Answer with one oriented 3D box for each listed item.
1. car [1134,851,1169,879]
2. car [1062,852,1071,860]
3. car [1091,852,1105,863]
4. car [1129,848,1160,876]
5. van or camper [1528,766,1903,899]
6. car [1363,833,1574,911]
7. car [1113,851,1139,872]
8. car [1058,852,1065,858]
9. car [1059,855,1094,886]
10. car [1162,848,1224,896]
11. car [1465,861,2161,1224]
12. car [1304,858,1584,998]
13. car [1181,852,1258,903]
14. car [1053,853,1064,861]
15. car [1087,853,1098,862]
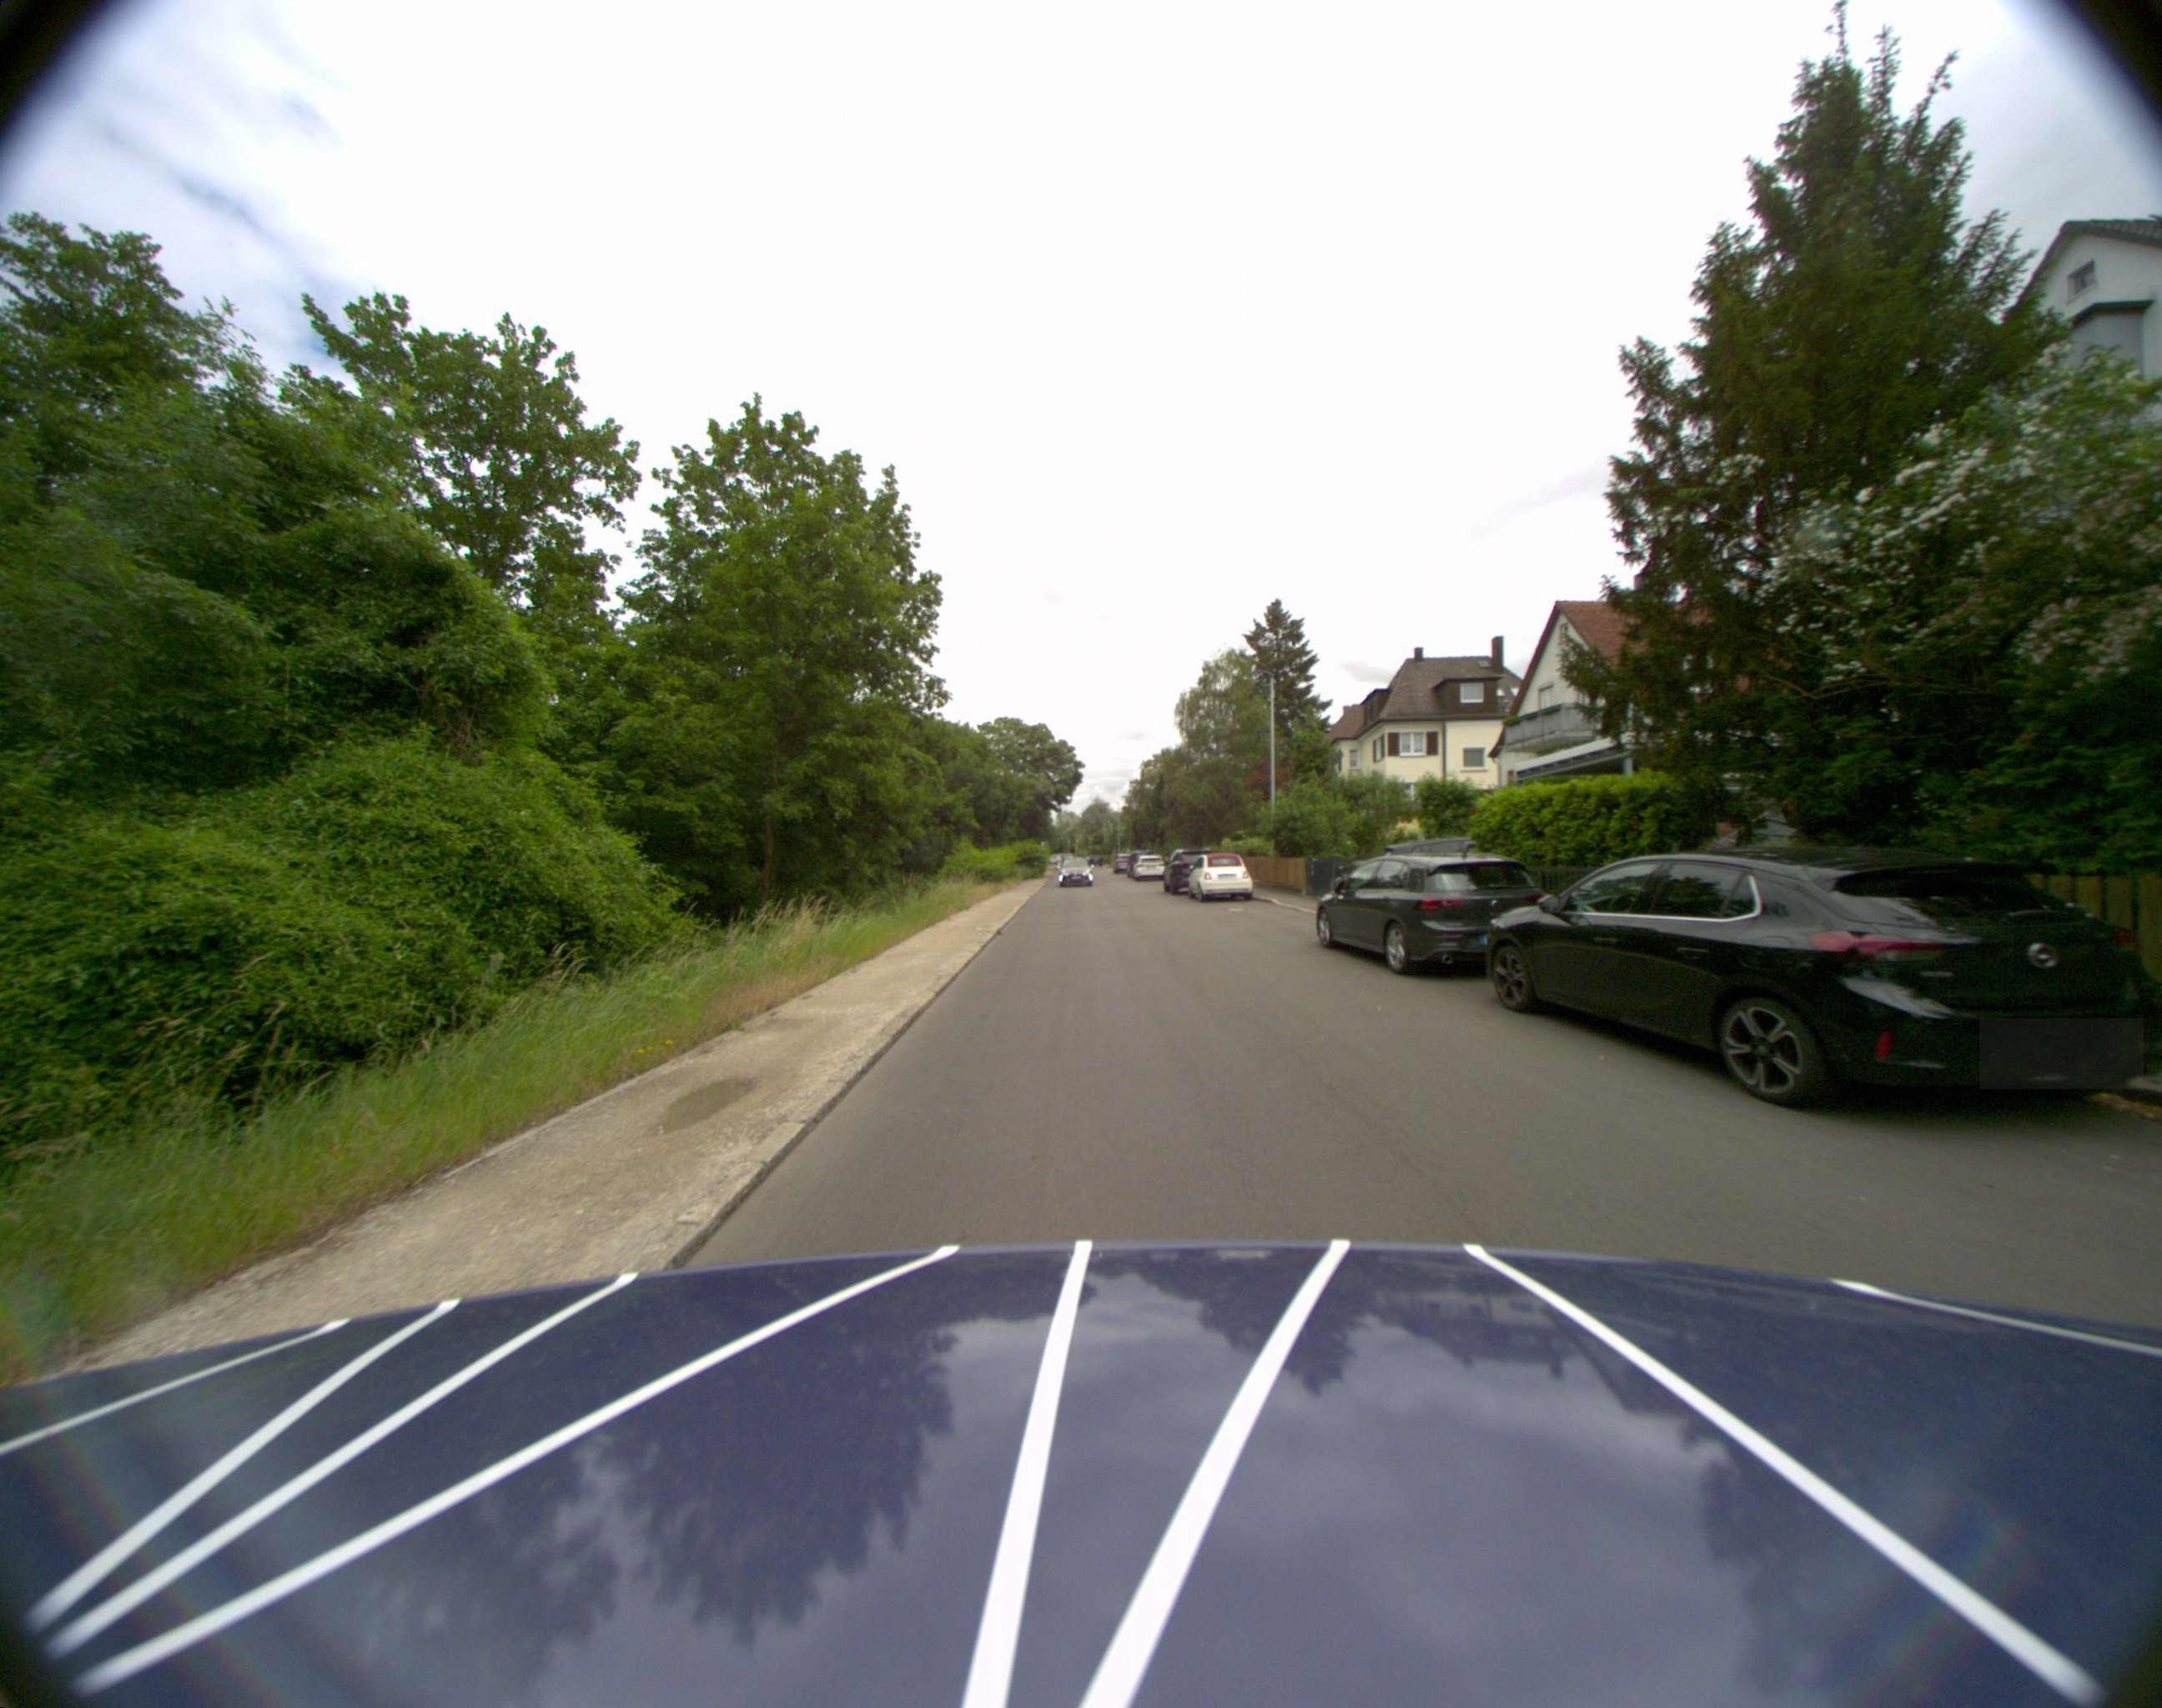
[{"bbox_3d":[4.117,0.633,45.002,1.711,1.502,4.554,-2,0,1],"label":"car"},{"bbox_3d":[-3.388,0.479,177.023,1.923,1.670,4.194,-2,0,-3],"label":"car"},{"bbox_3d":[2.536,0.511,113.943,1.922,1.670,4.195,-2,0,0],"label":"car"},{"bbox_3d":[4.213,0.502,50.999,1.711,1.789,4.297,-2,0,0],"label":"car"},{"bbox_3d":[15.081,-0.449,18.545,6.692,2.635,2.325,-3,0,9],"label":"van or camper"},{"bbox_3d":[8.813,0.415,17.648,3.993,1.538,1.843,-3,0,14],"label":"car"},{"bbox_3d":[3.768,0.589,63.913,1.800,1.598,4.729,-2,0,-1],"label":"car"},{"bbox_3d":[-6.228,0.370,243.201,1.923,1.670,4.194,-2,0,-3],"label":"car"},{"bbox_3d":[-0.201,0.830,40.223,1.711,1.466,4.195,-2,0,0],"label":"car"},{"bbox_3d":[4.223,0.630,29.262,1.796,1.654,4.392,-2,0,1],"label":"car"},{"bbox_3d":[4.593,0.810,5.252,1.711,1.408,4.131,-2,0,-1],"label":"car"},{"bbox_3d":[4.501,0.801,10.210,1.711,1.408,4.149,-2,0,-1],"label":"car"},{"bbox_3d":[4.433,0.703,24.869,1.711,1.502,3.945,-2,0,-1],"label":"car"},{"bbox_3d":[-4.586,0.580,152.279,1.923,1.670,4.193,-2,0,-5],"label":"car"},{"bbox_3d":[1.905,0.568,125.625,1.711,1.466,4.195,-2,0,0],"label":"car"}]
